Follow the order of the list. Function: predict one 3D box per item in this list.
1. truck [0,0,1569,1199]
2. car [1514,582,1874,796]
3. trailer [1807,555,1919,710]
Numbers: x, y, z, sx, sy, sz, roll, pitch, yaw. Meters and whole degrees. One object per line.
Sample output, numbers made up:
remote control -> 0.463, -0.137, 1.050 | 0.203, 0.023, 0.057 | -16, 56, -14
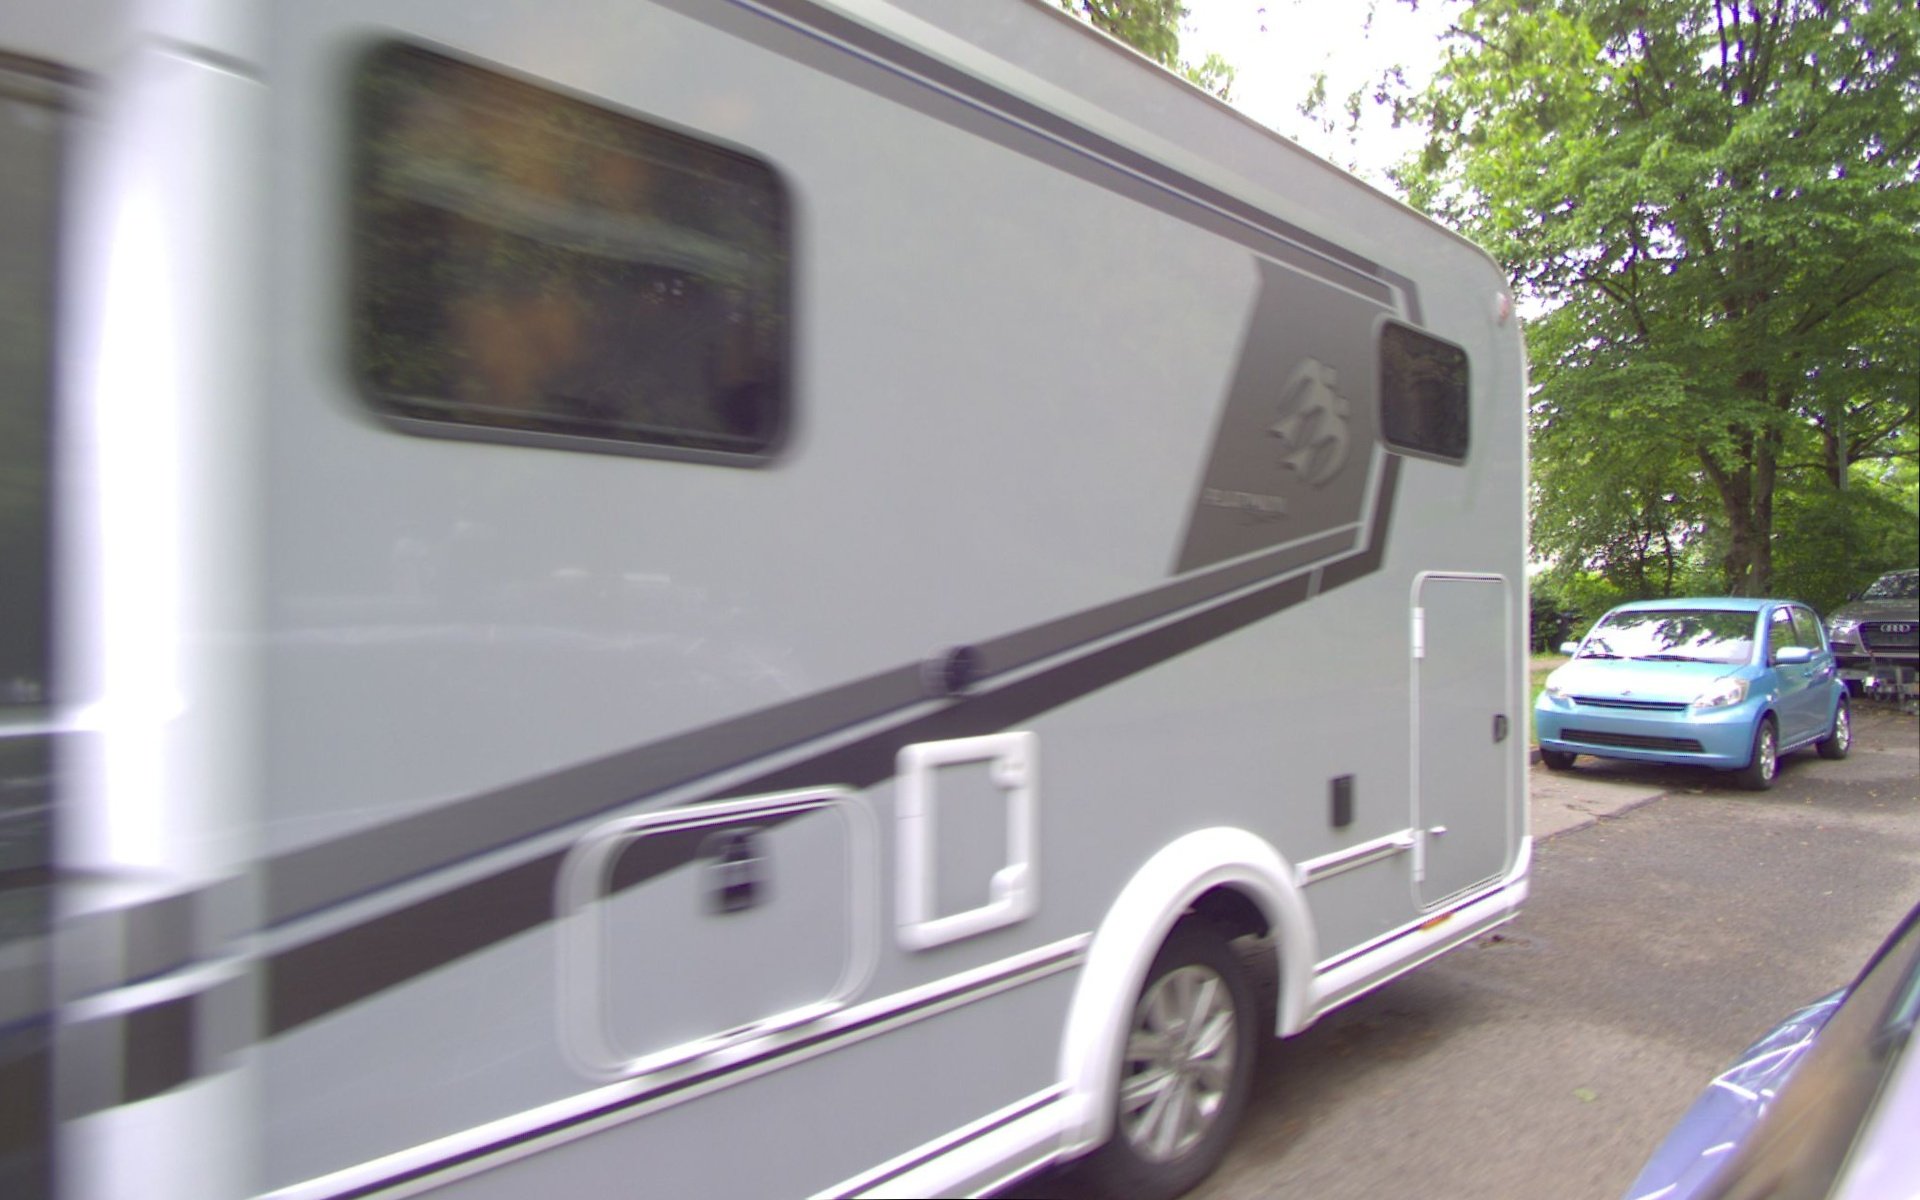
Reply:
truck -> -0.975, -0.020, 2.608 | 6.909, 2.970, 2.308 | 0, 0, -41
car -> 6.778, 0.638, 9.229 | 3.699, 1.567, 1.699 | -1, 0, -38
trailer -> 14.356, 0.309, 14.568 | 5.785, 1.957, 1.999 | -2, 1, -36
